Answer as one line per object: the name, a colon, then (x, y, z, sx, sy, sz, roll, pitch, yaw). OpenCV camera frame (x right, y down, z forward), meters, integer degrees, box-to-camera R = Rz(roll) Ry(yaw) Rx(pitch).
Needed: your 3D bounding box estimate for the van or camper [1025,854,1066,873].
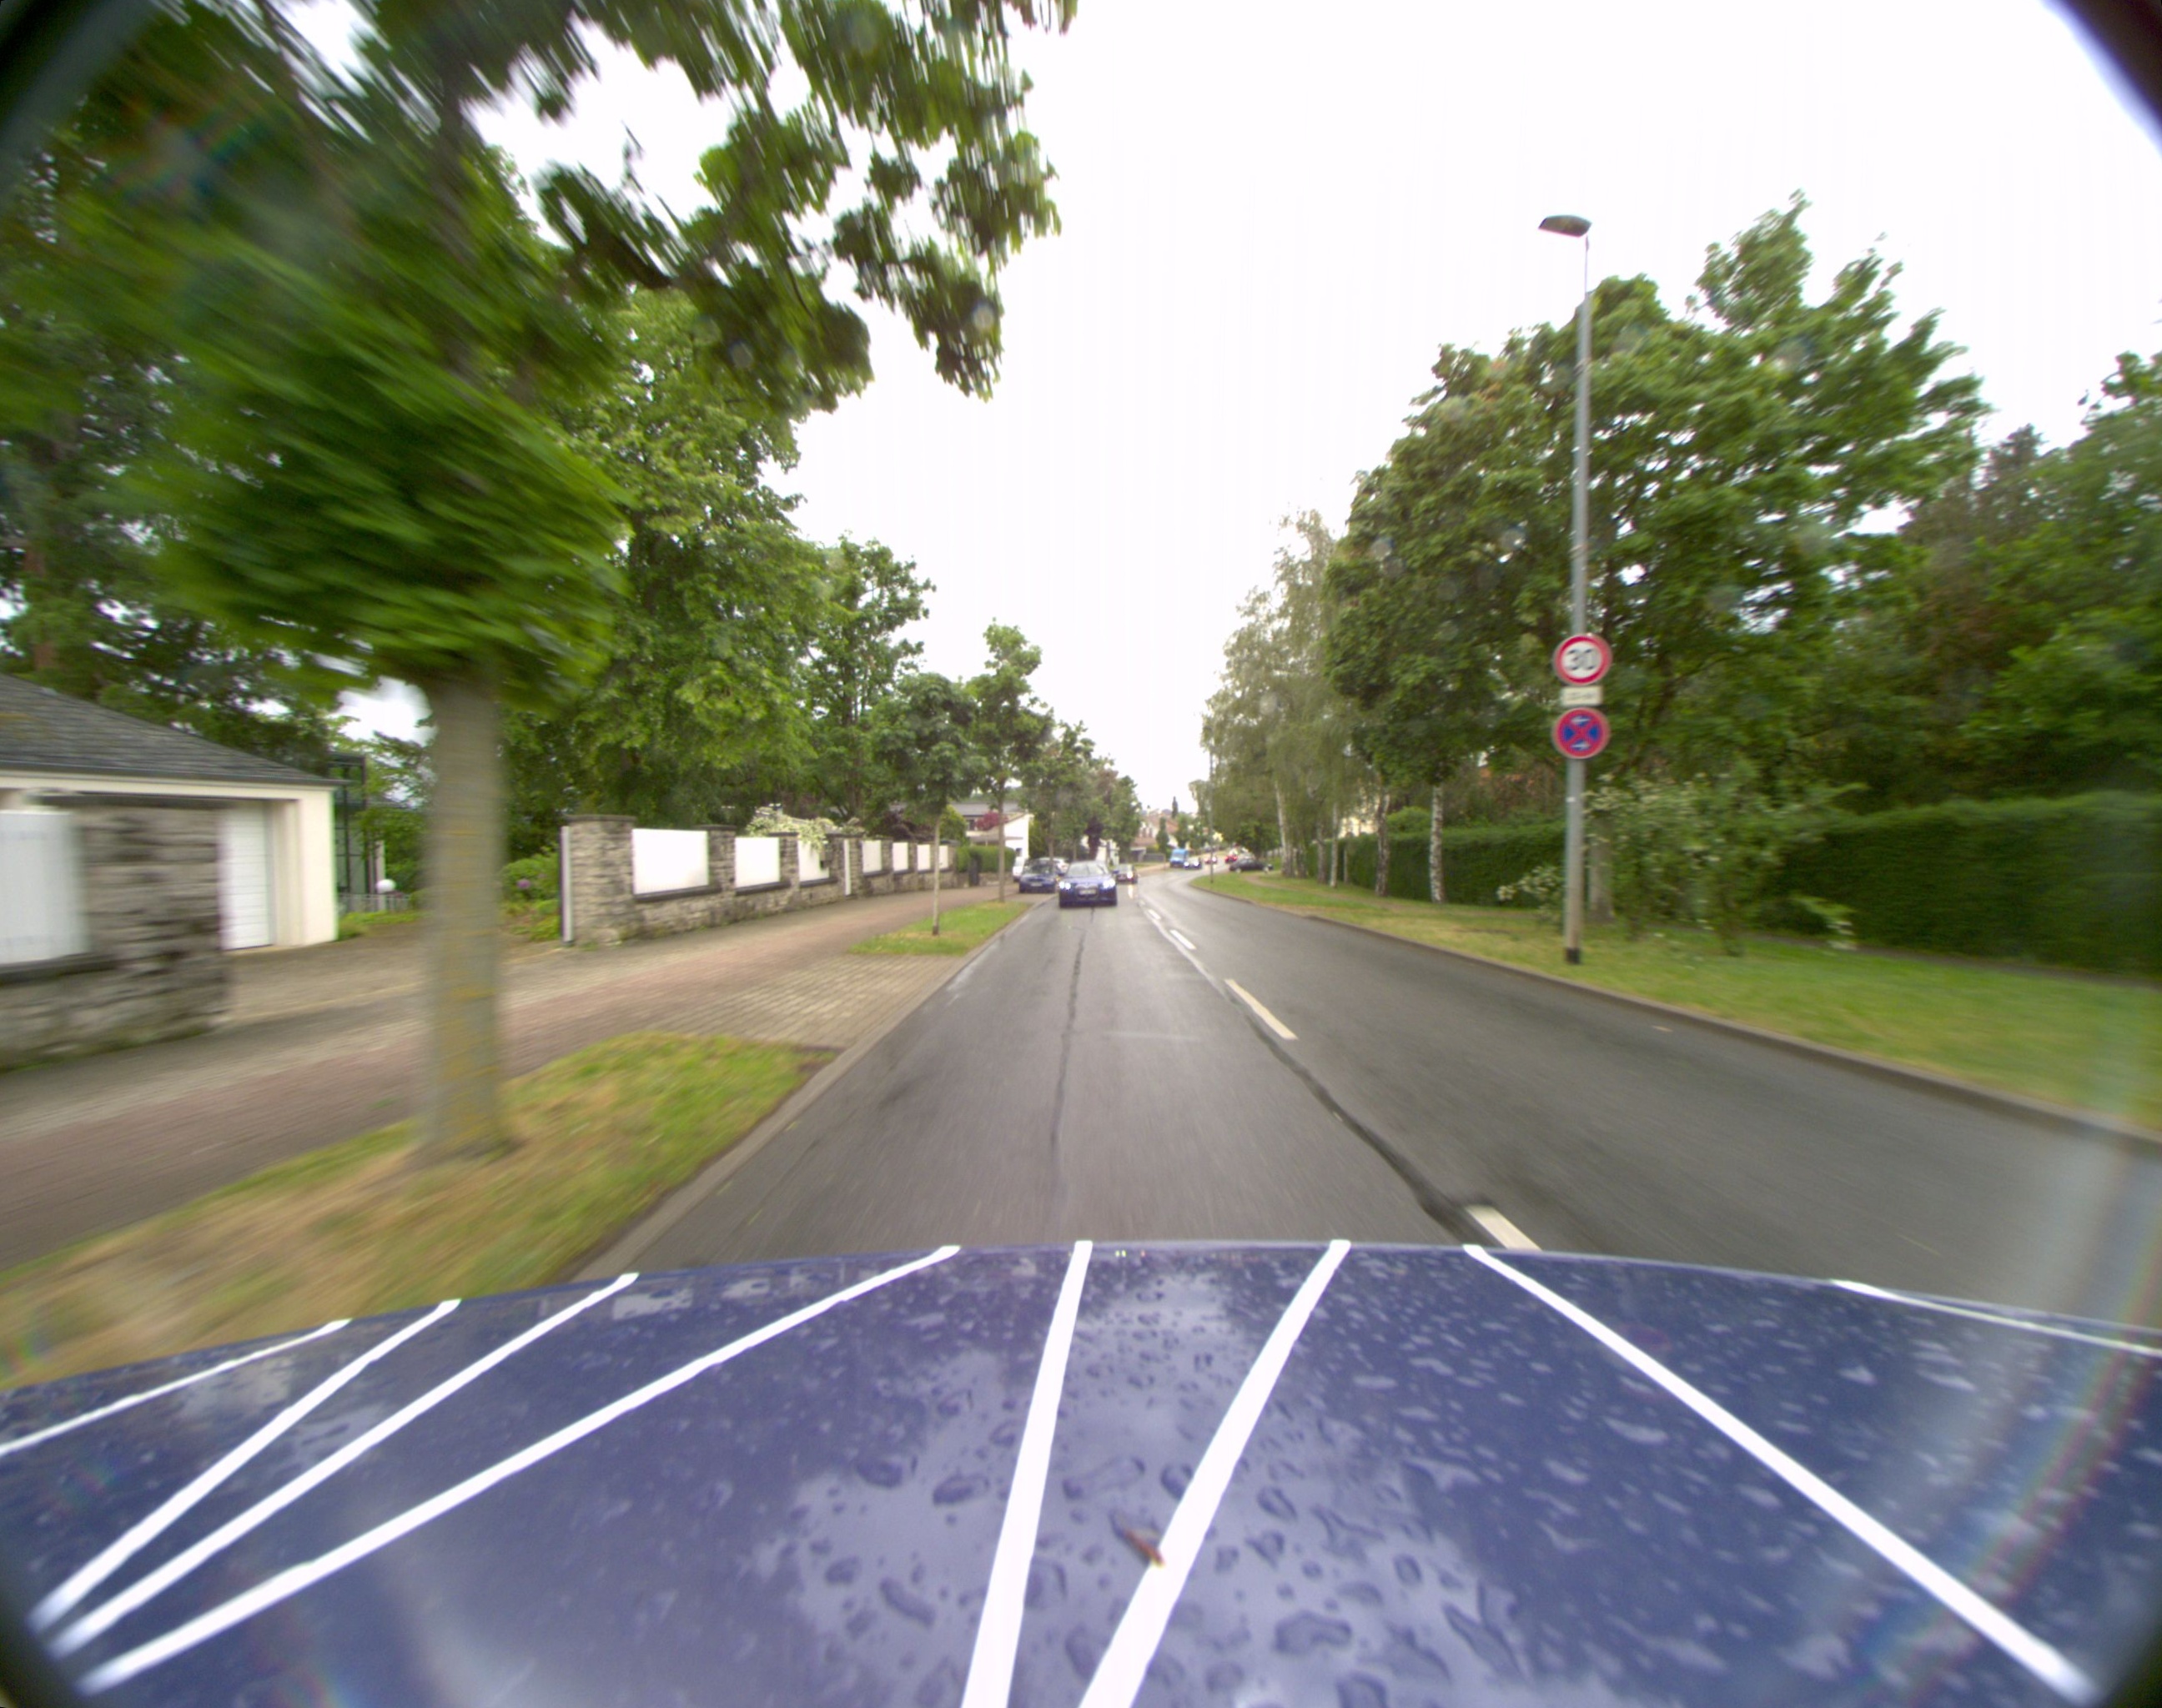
van or camper: (-3.182, 0.853, 68.312, 3.408, 1.547, 1.770, 2, 1, 7)

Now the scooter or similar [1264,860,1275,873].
scooter or similar: (16.788, 1.112, 67.694, 0.424, 1.151, 1.493, -3, -1, 36)

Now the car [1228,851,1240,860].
car: (24.574, 0.288, 122.412, 1.758, 1.432, 4.160, -2, -1, 10)

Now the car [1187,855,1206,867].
car: (15.759, 0.970, 103.279, 1.893, 1.531, 4.005, -2, 0, 18)

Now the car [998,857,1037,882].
car: (-4.711, 1.113, 57.080, 1.797, 1.747, 4.946, 0, 0, 8)

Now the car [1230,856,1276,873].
car: (17.801, 1.055, 78.597, 4.434, 1.409, 1.758, -4, 0, 16)

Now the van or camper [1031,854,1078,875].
van or camper: (-2.578, 1.024, 73.891, 4.018, 1.778, 1.949, 3, 1, 15)

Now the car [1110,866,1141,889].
car: (3.322, 1.735, 56.335, 1.845, 1.531, 4.003, -2, 0, 9)

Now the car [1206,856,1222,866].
car: (21.394, 1.142, 122.391, 1.893, 1.531, 4.005, -2, 0, 18)

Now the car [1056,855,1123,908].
car: (0.373, 0.849, 25.337, 1.895, 1.531, 4.001, -2, 0, 4)

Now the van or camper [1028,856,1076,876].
van or camper: (-2.722, 1.089, 71.377, 3.992, 1.668, 2.125, 3, 1, 12)

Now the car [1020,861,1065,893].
car: (-1.805, 1.067, 36.661, 1.645, 1.369, 3.830, 1, 0, 5)

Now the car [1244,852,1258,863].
car: (26.682, 0.494, 119.293, 1.773, 1.597, 4.005, -1, 1, 19)

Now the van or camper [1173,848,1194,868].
van or camper: (14.798, 0.529, 109.386, 2.146, 2.594, 5.788, 1, 2, 17)
